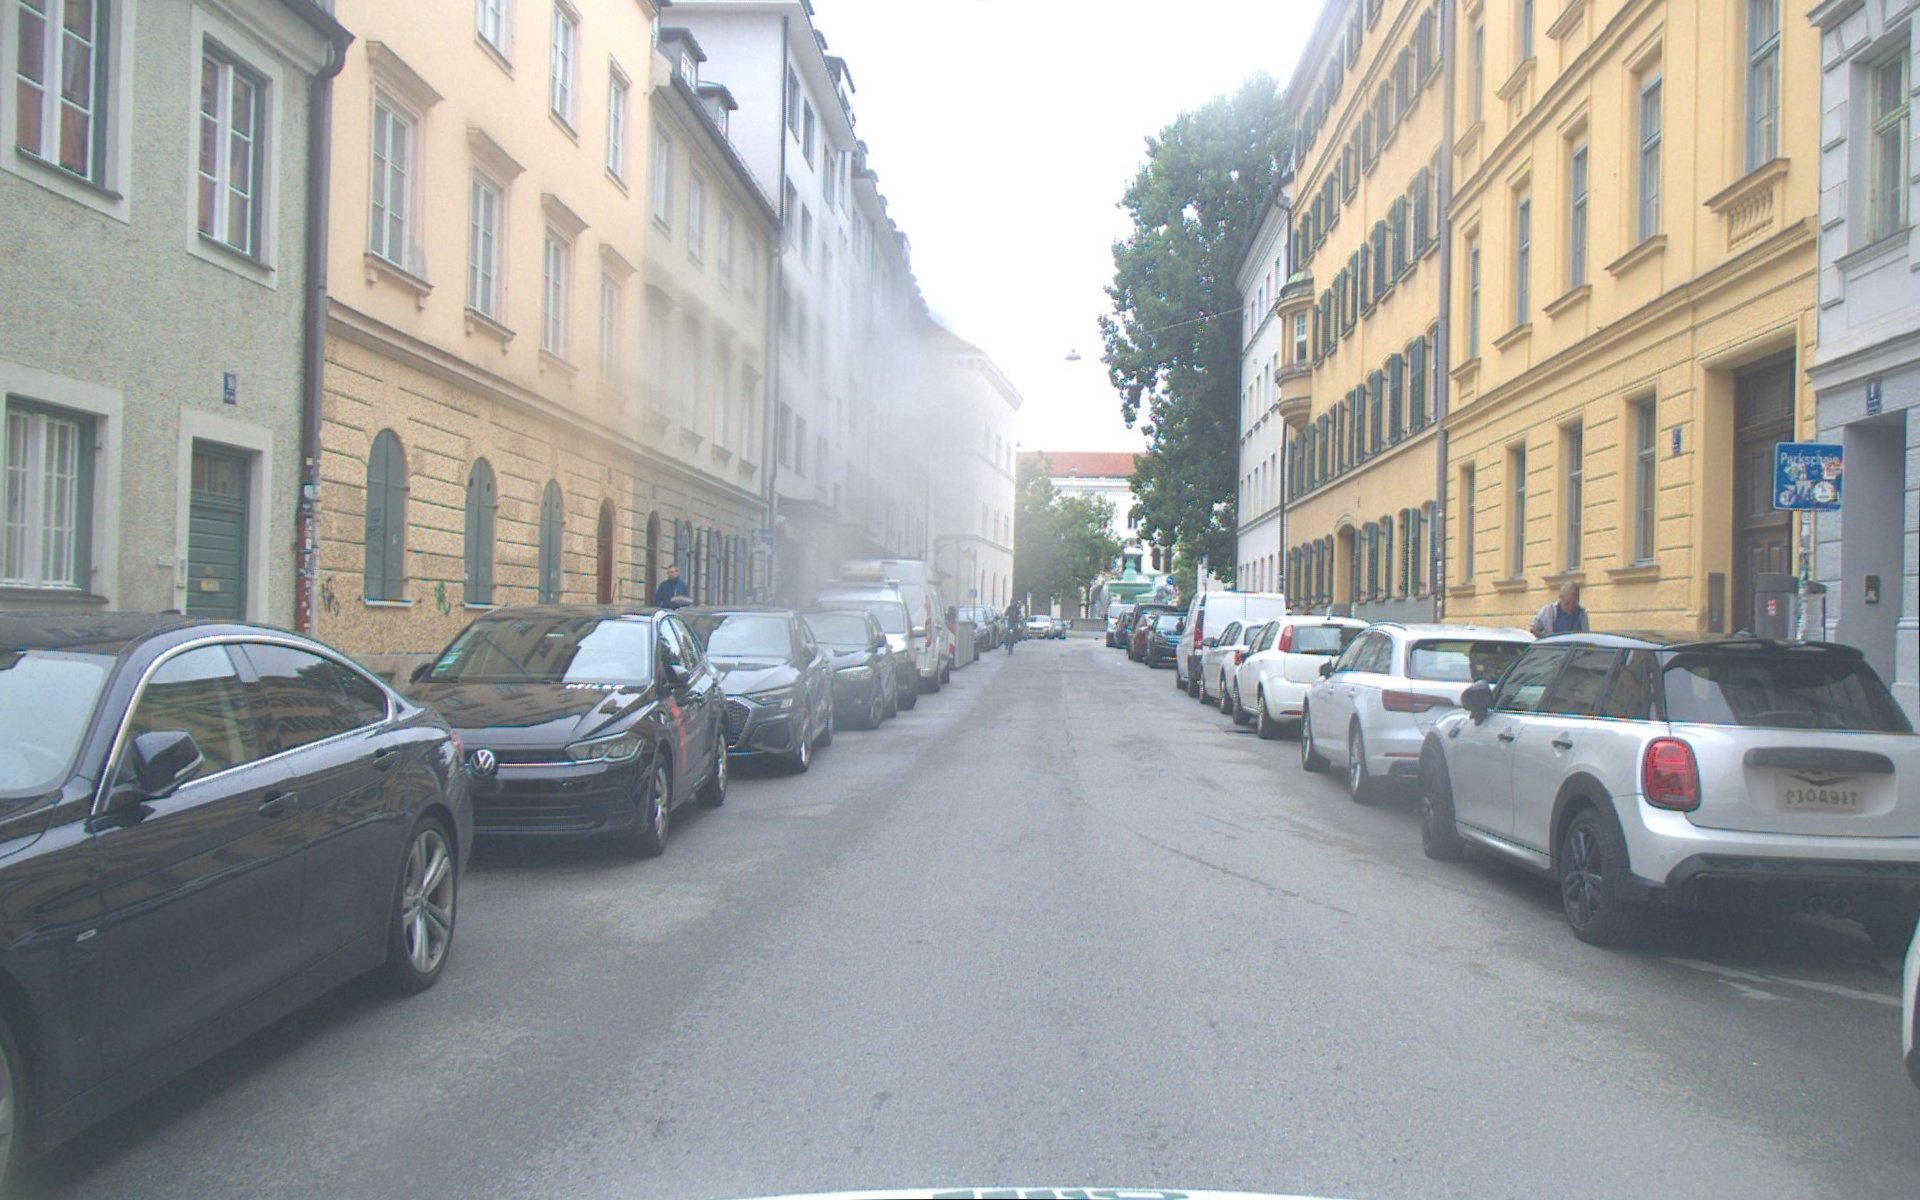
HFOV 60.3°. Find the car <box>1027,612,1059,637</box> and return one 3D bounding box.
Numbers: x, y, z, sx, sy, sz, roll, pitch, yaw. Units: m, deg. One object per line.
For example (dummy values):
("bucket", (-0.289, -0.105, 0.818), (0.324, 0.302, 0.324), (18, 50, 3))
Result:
("car", (5.415, 1.630, 107.540), (1.740, 1.562, 4.214), (0, -2, 8))

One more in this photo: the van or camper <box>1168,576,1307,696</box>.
("van or camper", (5.159, 0.634, 31.383), (1.952, 2.049, 5.234), (1, 0, 2))

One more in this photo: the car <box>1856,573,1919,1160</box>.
("car", (3.450, 0.746, 2.756), (1.681, 1.629, 4.324), (1, 0, 2))

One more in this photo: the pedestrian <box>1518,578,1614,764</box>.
("pedestrian", (6.377, 0.727, 17.440), (0.687, 1.895, 0.805), (2, 0, 1))

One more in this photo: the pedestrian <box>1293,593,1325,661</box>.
("pedestrian", (8.743, 0.665, 41.462), (0.584, 1.667, 0.896), (-2, 0, 1))

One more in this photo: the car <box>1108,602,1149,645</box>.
("car", (7.941, 1.099, 78.116), (1.842, 1.958, 4.877), (1, -1, 6))

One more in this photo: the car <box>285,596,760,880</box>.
("car", (-2.563, 0.735, 10.844), (1.819, 1.426, 4.270), (2, 0, 2))

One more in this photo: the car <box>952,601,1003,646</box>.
("car", (0.716, 0.890, 65.383), (1.833, 1.718, 4.522), (0, 0, 3))

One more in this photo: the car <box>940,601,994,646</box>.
("car", (0.290, 0.828, 59.896), (1.736, 1.566, 4.160), (0, 0, 3))

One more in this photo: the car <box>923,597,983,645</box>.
("car", (-0.243, 0.601, 49.304), (1.606, 1.378, 4.056), (0, 0, -3))

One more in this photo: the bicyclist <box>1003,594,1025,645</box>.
("bicyclist", (1.793, 0.631, 54.786), (0.672, 1.656, 0.853), (2, -1, 2))

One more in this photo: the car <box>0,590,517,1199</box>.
("car", (-2.879, 0.696, 4.753), (1.818, 1.426, 4.271), (2, 0, 3))

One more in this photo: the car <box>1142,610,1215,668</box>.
("car", (6.013, 1.036, 45.806), (1.709, 1.489, 4.002), (1, 0, 3))

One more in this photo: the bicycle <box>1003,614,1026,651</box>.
("bicycle", (1.798, 1.073, 54.749), (0.717, 1.171, 2.000), (2, 0, 2))

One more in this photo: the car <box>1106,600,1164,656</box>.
("car", (6.114, 0.990, 58.165), (1.808, 1.807, 4.203), (3, -1, 4))

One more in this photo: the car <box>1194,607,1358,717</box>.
("car", (4.835, 0.899, 25.921), (1.778, 1.536, 4.588), (1, 0, 1))

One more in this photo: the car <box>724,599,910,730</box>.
("car", (-1.704, 0.749, 21.061), (1.819, 1.426, 4.270), (2, 0, 2))

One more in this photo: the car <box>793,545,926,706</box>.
("car", (-1.513, 0.370, 25.918), (1.820, 2.240, 4.559), (2, 0, -2))

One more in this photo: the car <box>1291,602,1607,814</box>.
("car", (4.086, 0.811, 14.541), (1.681, 1.536, 4.470), (1, 0, 3))

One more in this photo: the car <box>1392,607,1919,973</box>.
("car", (3.728, 0.824, 9.032), (1.682, 1.536, 3.936), (1, 0, 0))

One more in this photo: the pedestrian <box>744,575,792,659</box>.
("pedestrian", (-4.088, 0.361, 35.291), (0.788, 1.742, 1.022), (1, 0, 5))

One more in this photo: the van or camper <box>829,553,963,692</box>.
("van or camper", (-1.113, 0.392, 31.475), (1.952, 2.351, 5.480), (2, 0, 3))

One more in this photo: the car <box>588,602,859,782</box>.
("car", (-2.099, 0.775, 15.898), (1.819, 1.426, 4.270), (2, 0, 2))

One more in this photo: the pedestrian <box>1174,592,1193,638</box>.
("pedestrian", (11.107, 0.762, 82.215), (0.777, 2.236, 0.814), (2, -1, 3))

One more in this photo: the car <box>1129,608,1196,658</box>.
("car", (6.256, 0.997, 51.369), (1.677, 1.449, 4.458), (1, -1, 2))

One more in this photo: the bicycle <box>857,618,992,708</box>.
("bicycle", (-0.427, 0.747, 19.972), (1.595, 1.060, 0.348), (0, -1, 13))

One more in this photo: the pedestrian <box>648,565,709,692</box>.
("pedestrian", (-4.634, 0.461, 27.272), (0.788, 2.049, 0.750), (1, 0, 5))

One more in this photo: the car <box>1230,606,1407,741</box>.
("car", (4.496, 0.867, 21.226), (1.589, 1.536, 3.762), (1, 0, 3))

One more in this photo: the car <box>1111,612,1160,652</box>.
("car", (7.617, 1.372, 72.008), (1.770, 1.628, 4.216), (2, -1, 2))
